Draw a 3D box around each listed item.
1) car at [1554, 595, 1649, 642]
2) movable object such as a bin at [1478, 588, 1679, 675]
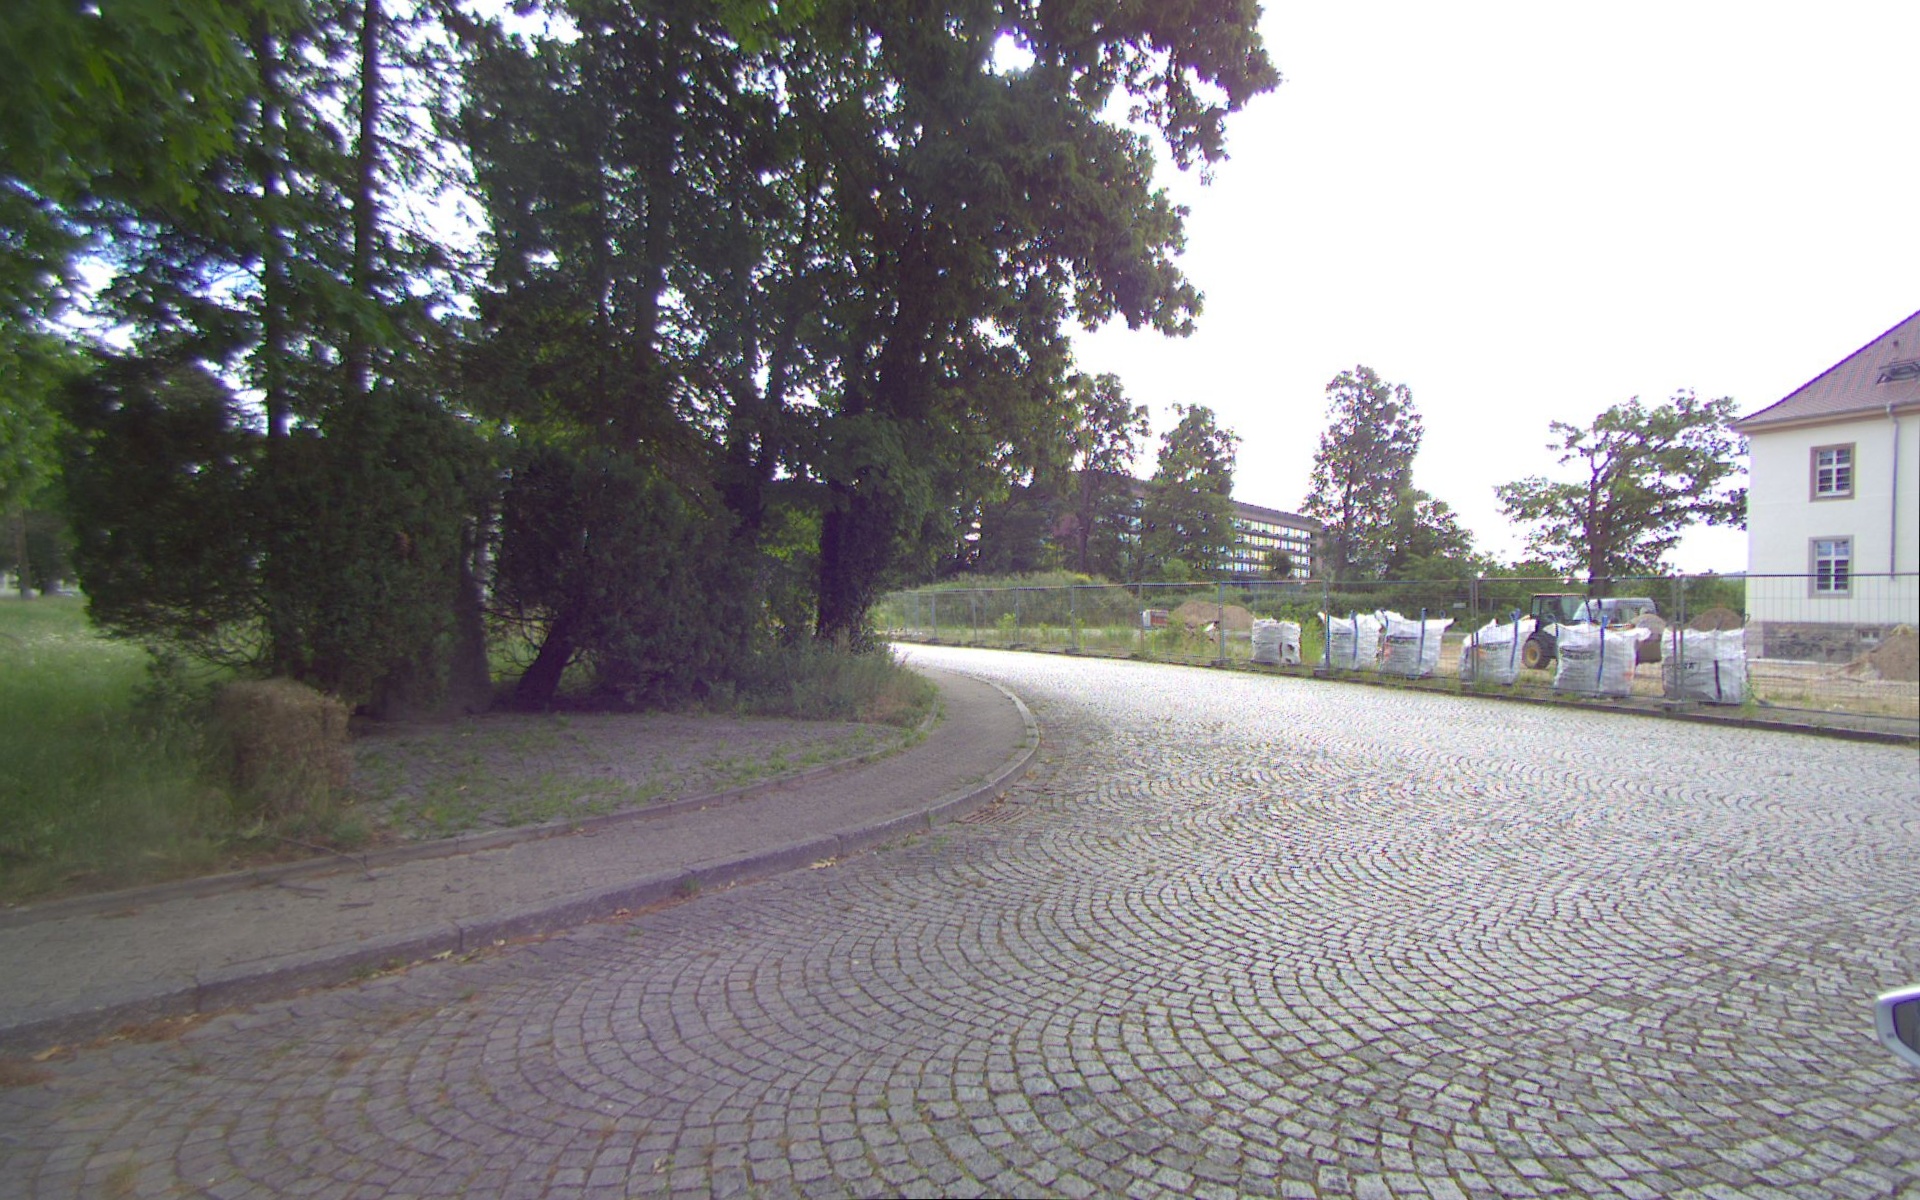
[{"bbox_3d":[31.195,0.911,48.832,4.845,2.179,2.056,1,0,-32],"label":"car"},{"bbox_3d":[19.788,0.944,32.453,1.974,2.590,5.310,1,0,-26],"label":"movable object such as a bin"}]
